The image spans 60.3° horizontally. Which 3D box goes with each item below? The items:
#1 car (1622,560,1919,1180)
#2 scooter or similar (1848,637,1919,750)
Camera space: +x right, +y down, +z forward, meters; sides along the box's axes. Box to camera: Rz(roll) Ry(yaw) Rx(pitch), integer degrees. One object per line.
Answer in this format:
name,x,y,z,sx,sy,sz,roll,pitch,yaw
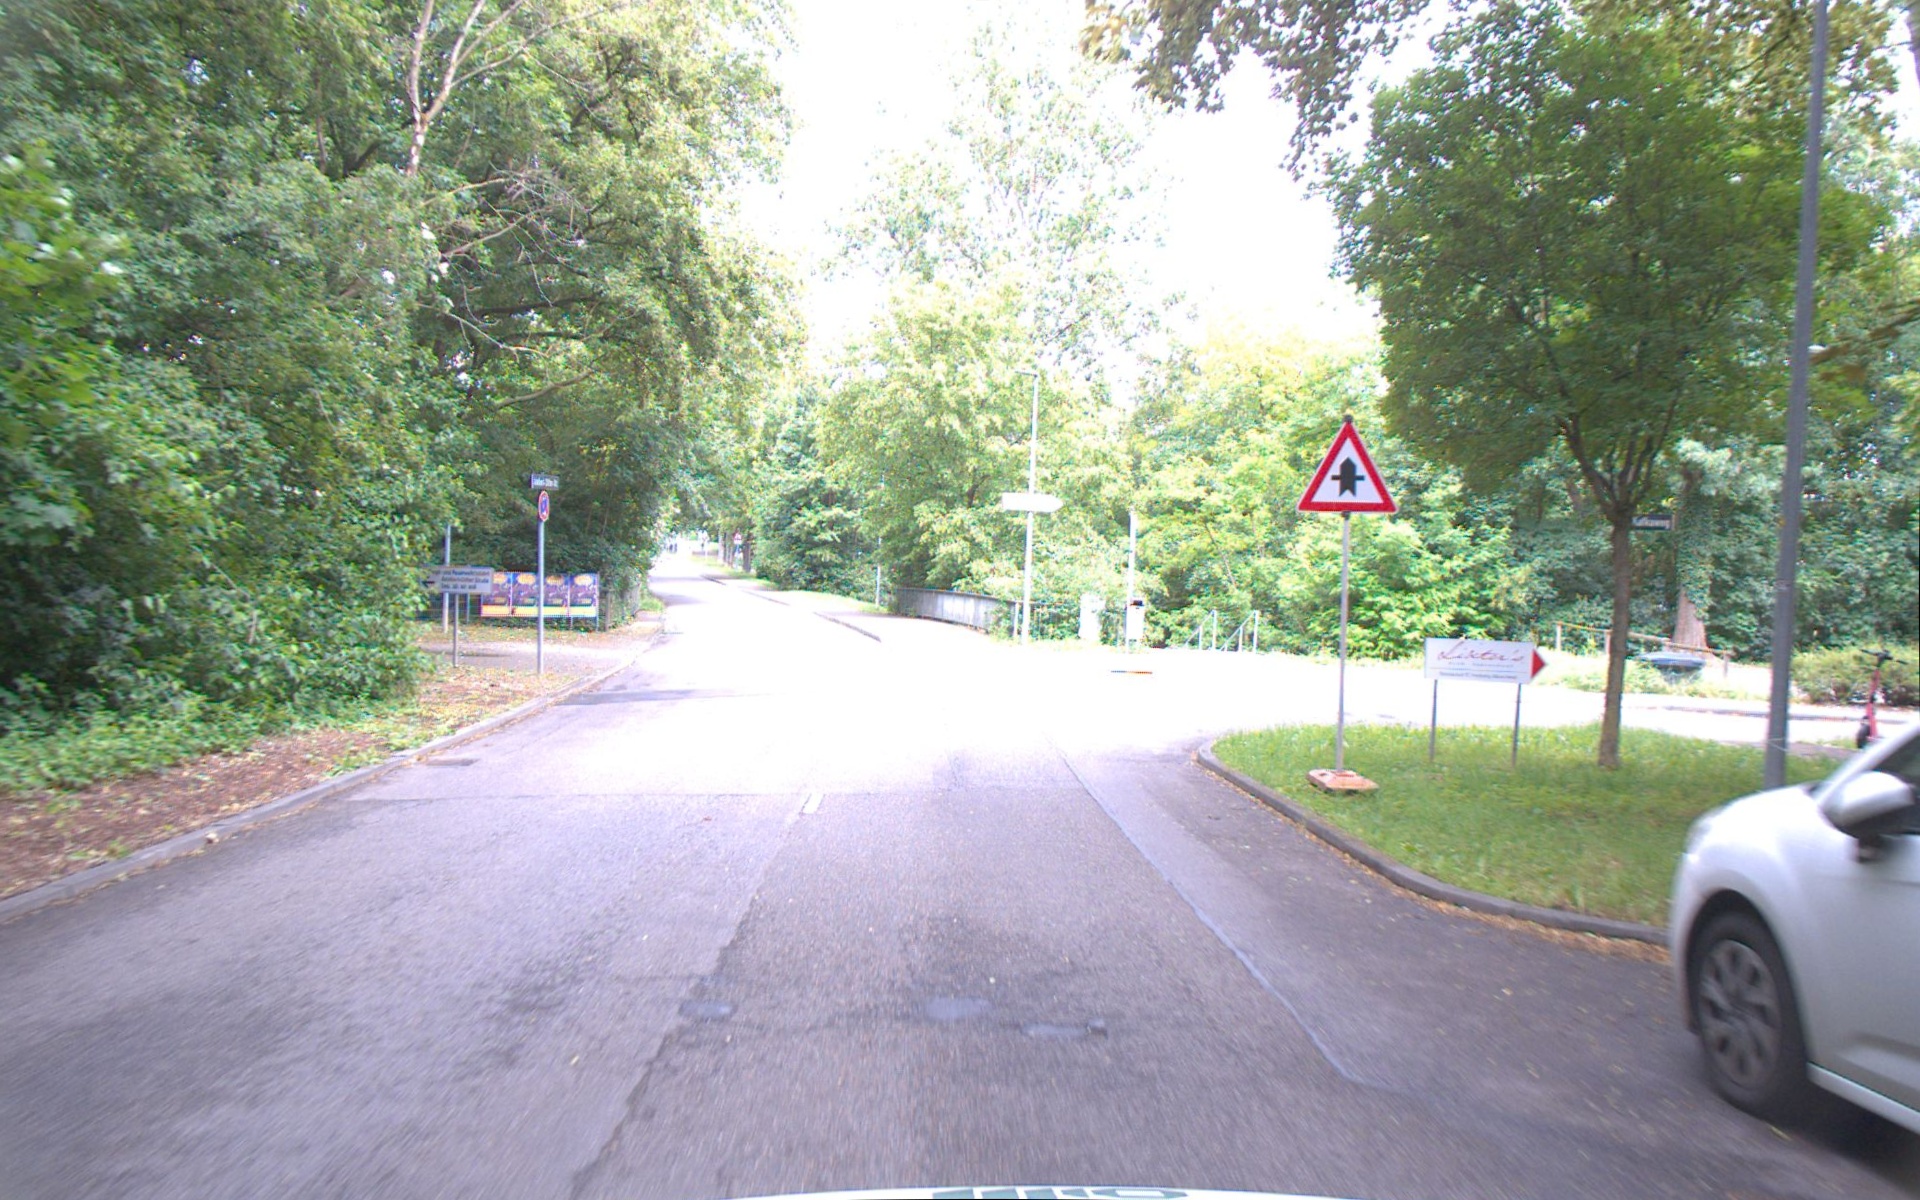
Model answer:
car,3.318,0.704,3.851,1.739,1.549,3.776,2,0,-5
scooter or similar,11.352,1.127,20.294,0.277,1.309,1.108,2,0,0
